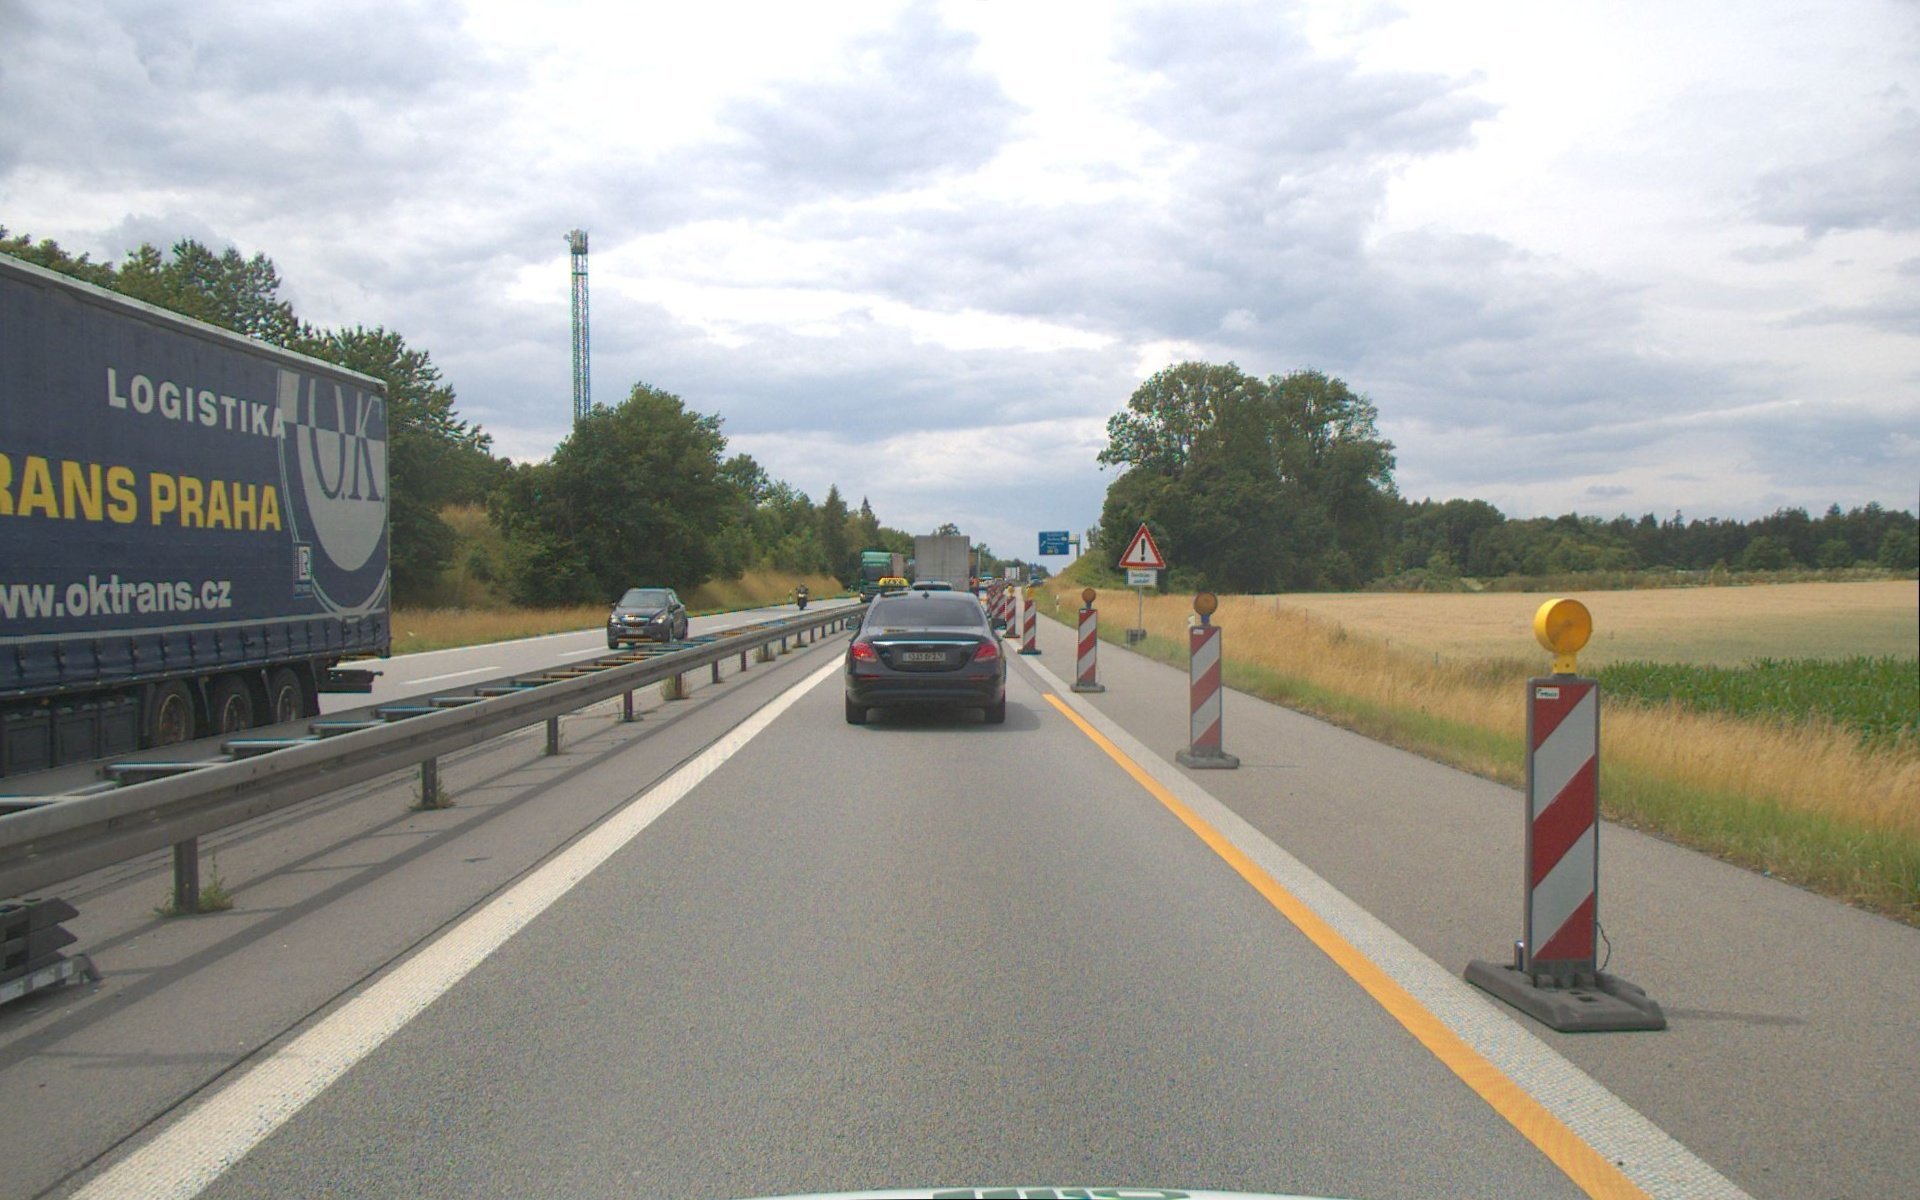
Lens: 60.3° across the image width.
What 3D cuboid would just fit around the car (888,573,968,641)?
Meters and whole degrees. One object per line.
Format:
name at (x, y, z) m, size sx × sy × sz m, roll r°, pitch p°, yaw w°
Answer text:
car at (-1.052, 0.213, 52.290) m, size 1.957 × 2.049 × 3.991 m, roll 1°, pitch 0°, yaw -9°

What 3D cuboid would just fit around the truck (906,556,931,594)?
truck at (-4.836, -2.920, 194.684) m, size 2.585 × 4.243 × 6.986 m, roll 1°, pitch 0°, yaw 1°

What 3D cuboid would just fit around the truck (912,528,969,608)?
truck at (-0.940, -1.461, 77.898) m, size 2.534 × 3.586 × 4.811 m, roll 1°, pitch 0°, yaw -2°

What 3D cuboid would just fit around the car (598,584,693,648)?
car at (-8.870, 0.434, 47.017) m, size 1.953 × 1.713 × 4.232 m, roll 1°, pitch 0°, yaw -2°

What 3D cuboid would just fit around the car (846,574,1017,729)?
car at (-0.366, 0.542, 19.242) m, size 1.760 × 1.587 × 3.998 m, roll 1°, pitch 0°, yaw -2°

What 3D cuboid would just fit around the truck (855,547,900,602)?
truck at (-6.738, -2.027, 135.857) m, size 3.058 × 4.287 × 6.782 m, roll 1°, pitch 0°, yaw 2°

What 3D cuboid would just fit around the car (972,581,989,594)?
car at (2.336, -1.466, 190.981) m, size 1.617 × 1.420 × 3.702 m, roll 1°, pitch 0°, yaw -5°

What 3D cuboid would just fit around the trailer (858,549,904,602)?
trailer at (-6.665, -1.998, 140.862) m, size 3.086 × 4.287 × 11.643 m, roll 1°, pitch 0°, yaw 1°

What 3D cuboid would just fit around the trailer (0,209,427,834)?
trailer at (-7.951, -0.538, 13.837) m, size 2.742 × 4.246 × 13.560 m, roll 1°, pitch 0°, yaw -1°
